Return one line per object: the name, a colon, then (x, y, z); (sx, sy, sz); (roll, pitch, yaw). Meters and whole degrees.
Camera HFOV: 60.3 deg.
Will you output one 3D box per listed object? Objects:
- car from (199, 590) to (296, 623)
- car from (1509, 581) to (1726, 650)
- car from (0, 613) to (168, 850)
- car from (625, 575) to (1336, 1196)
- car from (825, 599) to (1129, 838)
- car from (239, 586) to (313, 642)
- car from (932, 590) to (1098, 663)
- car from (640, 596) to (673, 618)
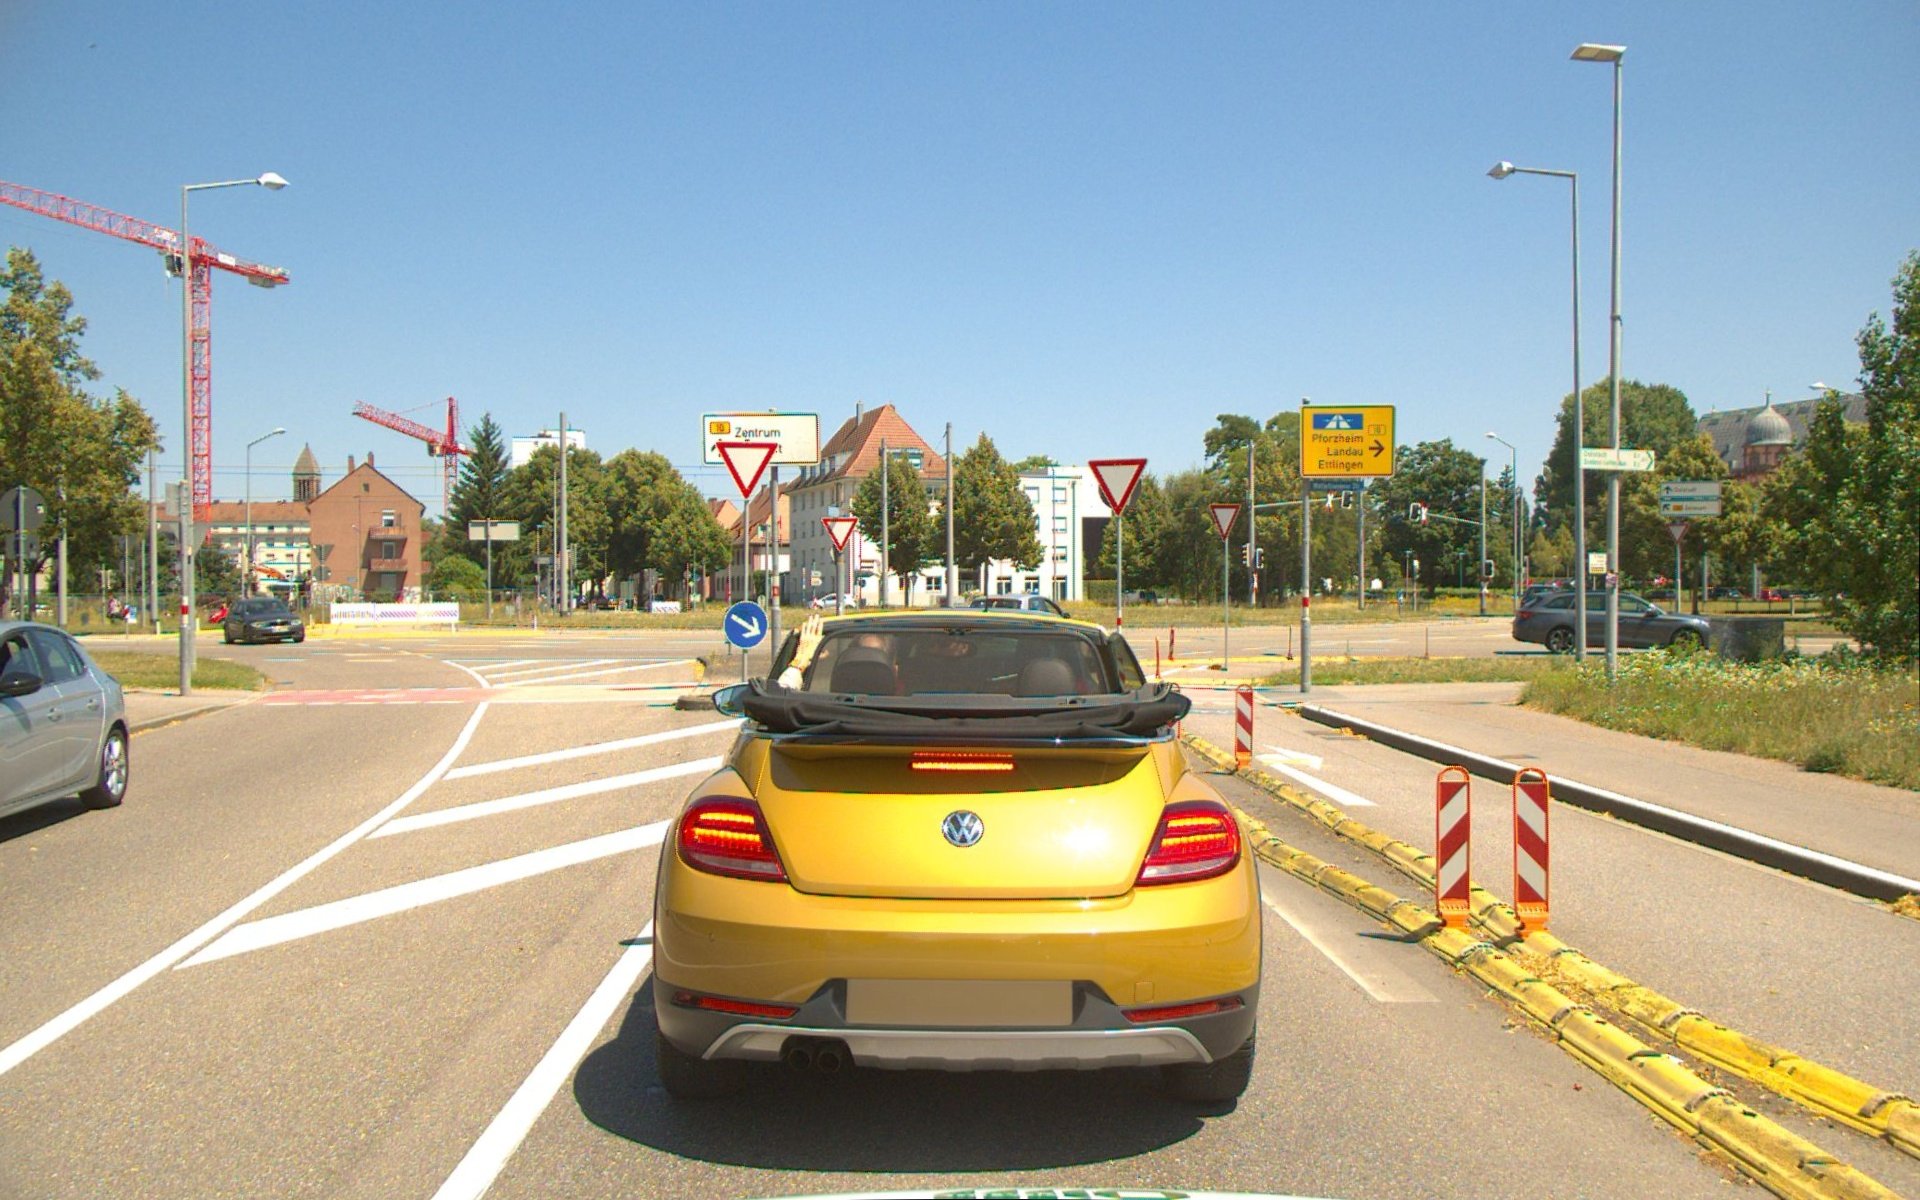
car: (-37.344, 0.348, 86.787); (1.863, 1.683, 4.329); (1, 0, 36)
car: (15.128, 0.352, 38.329); (4.431, 1.507, 2.073); (-1, 0, 15)
car: (-6.972, 0.860, 11.178); (1.695, 1.427, 4.263); (-2, 1, -8)
car: (0.026, 0.715, 6.205); (1.729, 1.507, 4.257); (1, 0, -1)
car: (0.071, 0.708, 12.076); (1.814, 1.389, 4.257); (-1, 0, -1)
car: (-21.978, 0.437, 53.241); (1.721, 1.736, 3.982); (1, 0, -16)
car: (1.235, 0.539, 34.907); (2.024, 1.406, 4.255); (1, 0, 24)
car: (-29.708, 0.648, 161.700); (1.962, 2.107, 5.286); (1, 0, -25)
